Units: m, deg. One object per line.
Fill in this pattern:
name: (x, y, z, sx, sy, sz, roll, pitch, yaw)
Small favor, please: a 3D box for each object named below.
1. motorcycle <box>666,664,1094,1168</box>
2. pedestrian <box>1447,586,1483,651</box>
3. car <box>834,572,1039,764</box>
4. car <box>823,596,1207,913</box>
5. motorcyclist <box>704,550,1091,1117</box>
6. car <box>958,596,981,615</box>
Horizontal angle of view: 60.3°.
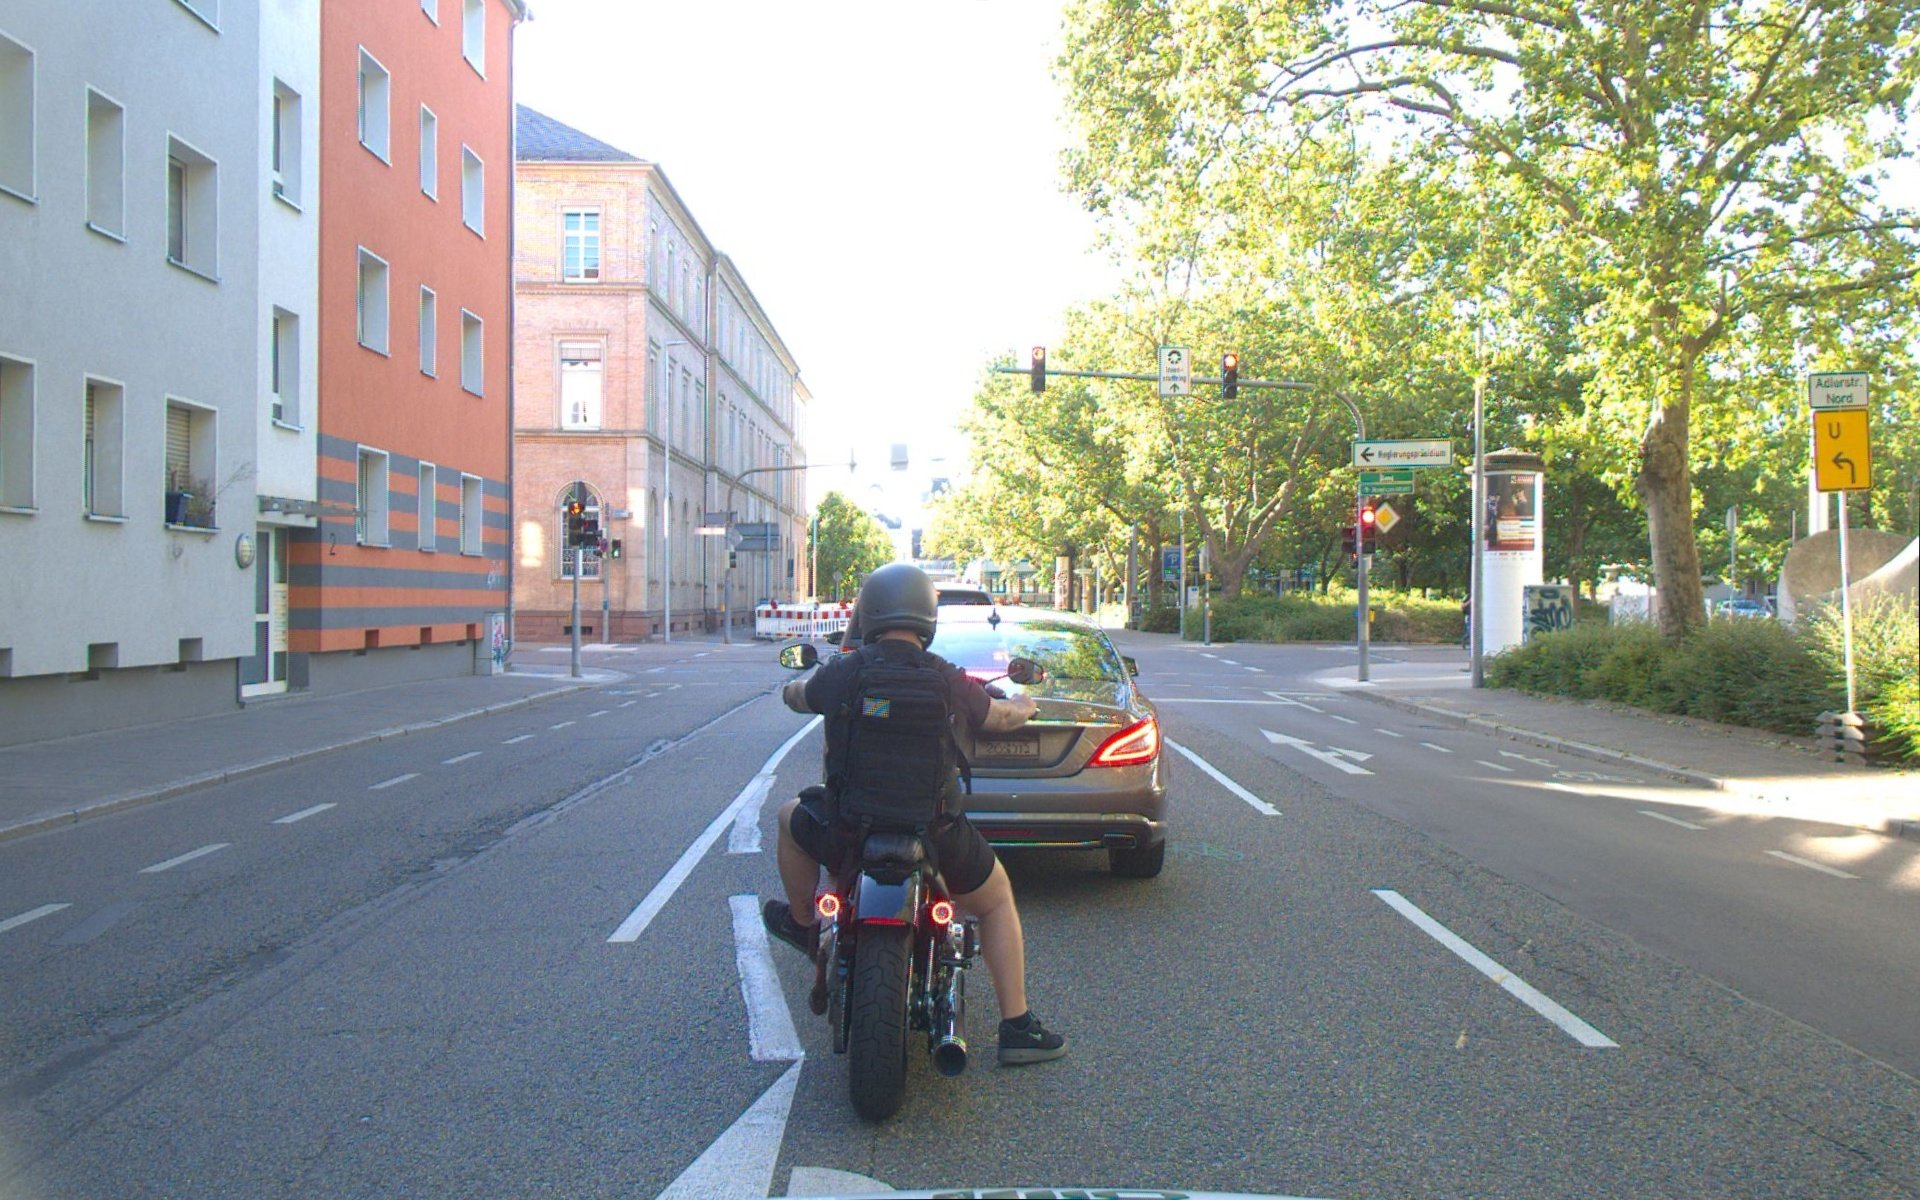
motorcycle: (-0.129, 0.874, 5.501, 1.094, 1.228, 2.213, 1, 0, 5)
pedestrian: (14.243, 0.511, 46.644, 0.722, 1.809, 0.728, 1, -1, -10)
car: (-0.240, 0.624, 16.945, 1.825, 1.707, 3.999, 1, 0, -1)
car: (0.233, 0.733, 9.673, 1.785, 1.462, 3.805, 1, 0, -1)
motorcyclist: (-0.142, 0.664, 5.281, 1.076, 1.593, 1.072, 1, 0, 5)
car: (0.667, 0.397, 119.441, 1.598, 1.281, 3.715, 1, 0, -1)
